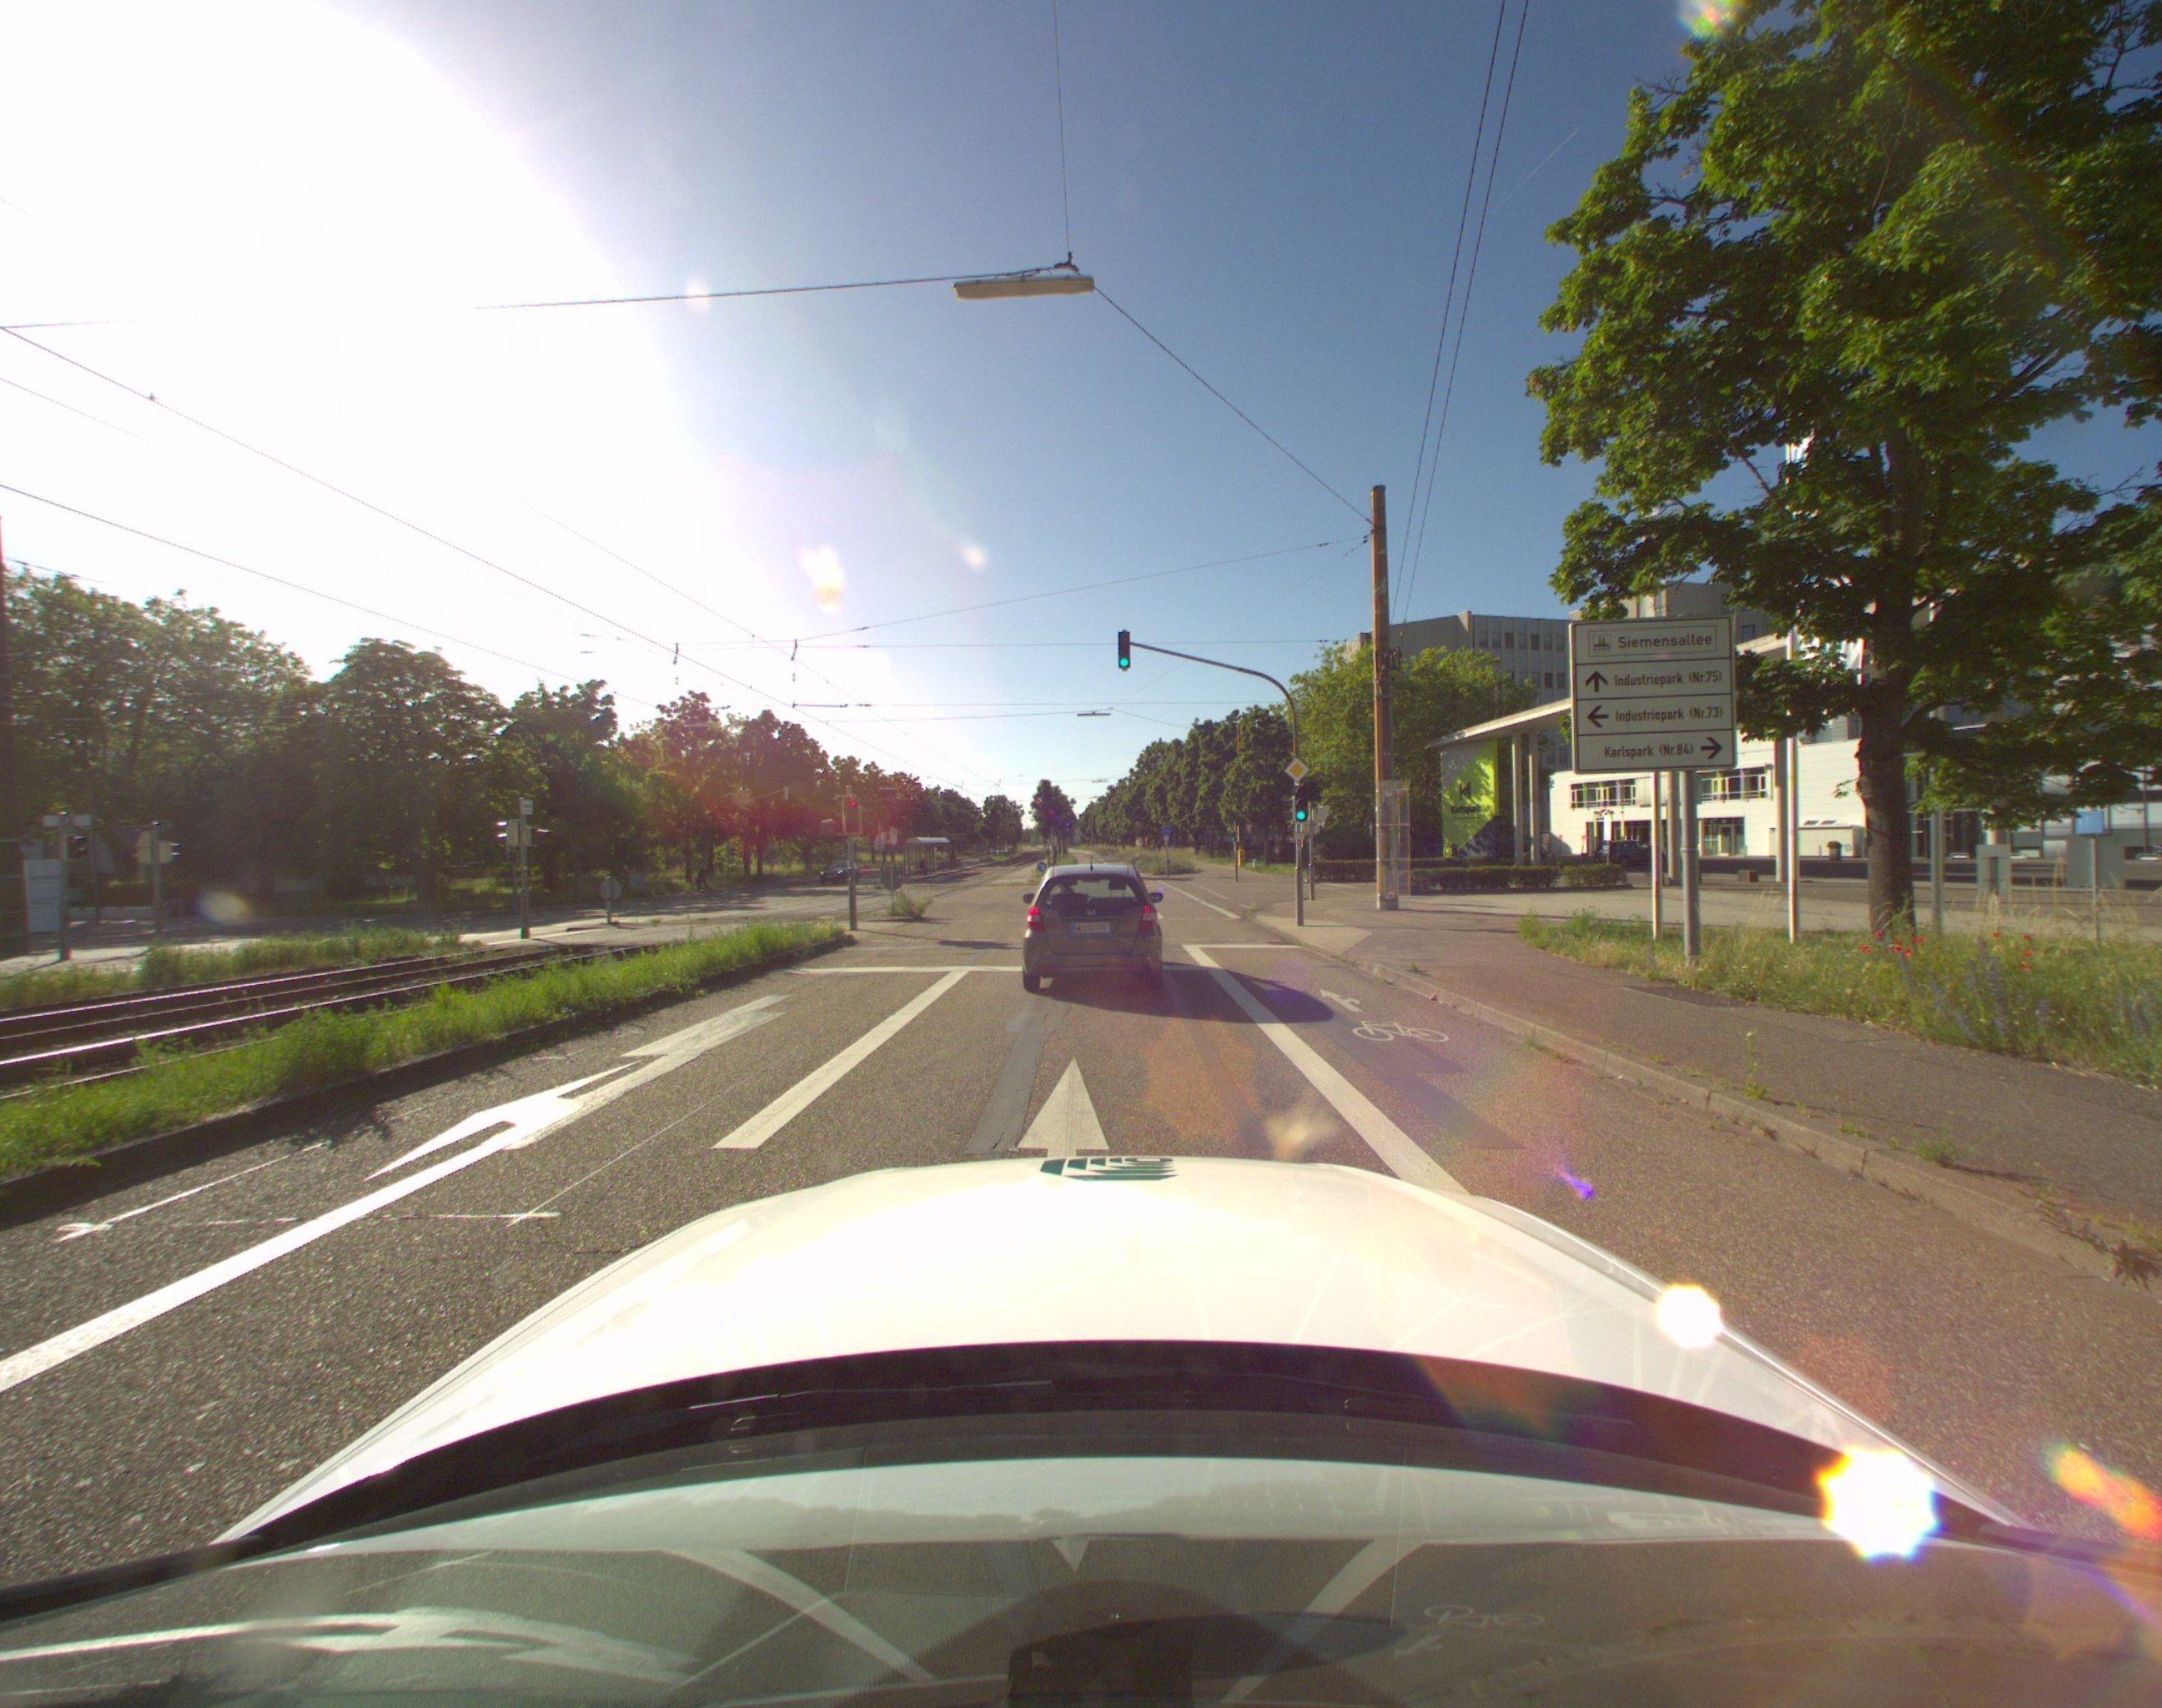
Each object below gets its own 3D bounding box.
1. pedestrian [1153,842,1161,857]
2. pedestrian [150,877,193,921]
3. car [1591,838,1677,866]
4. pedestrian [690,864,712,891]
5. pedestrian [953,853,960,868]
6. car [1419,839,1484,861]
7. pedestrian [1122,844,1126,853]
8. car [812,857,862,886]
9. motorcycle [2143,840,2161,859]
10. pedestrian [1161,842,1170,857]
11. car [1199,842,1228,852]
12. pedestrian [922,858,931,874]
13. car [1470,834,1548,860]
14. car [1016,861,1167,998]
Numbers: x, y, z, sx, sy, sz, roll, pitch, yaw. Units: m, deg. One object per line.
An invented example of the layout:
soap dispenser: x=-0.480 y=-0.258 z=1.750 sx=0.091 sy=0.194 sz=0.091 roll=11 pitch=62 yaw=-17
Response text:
pedestrian: x=9.784 y=-0.566 z=105.115 sx=0.880 sy=1.884 sz=0.875 roll=-2 pitch=0 yaw=-2
pedestrian: x=-38.519 y=1.884 z=34.489 sx=0.943 sy=1.787 sz=0.824 roll=-2 pitch=0 yaw=15
car: x=33.319 y=-0.129 z=49.139 sx=3.984 sy=1.578 sz=1.949 roll=-1 pitch=0 yaw=-8
pedestrian: x=-24.693 y=1.515 z=52.933 sx=0.751 sy=1.734 sz=0.943 roll=-2 pitch=0 yaw=30
pedestrian: x=-12.253 y=0.673 z=80.088 sx=0.542 sy=1.447 sz=0.559 roll=-2 pitch=0 yaw=1
car: x=30.051 y=-0.334 z=66.164 sx=4.448 sy=1.686 sz=1.892 roll=-2 pitch=0 yaw=-4
pedestrian: x=7.683 y=-0.954 z=146.117 sx=0.723 sy=1.690 sz=0.821 roll=-1 pitch=-1 yaw=-1
car: x=-17.968 y=1.265 z=60.204 sx=2.087 sy=1.810 sz=4.792 roll=-4 pitch=1 yaw=0
motorcycle: x=54.656 y=-0.226 z=40.745 sx=0.652 sy=0.947 sz=1.727 roll=-1 pitch=0 yaw=-13
pedestrian: x=10.901 y=-0.580 z=105.118 sx=0.880 sy=1.884 sz=0.875 roll=-2 pitch=0 yaw=-2
car: x=23.377 y=-1.270 z=143.753 sx=4.623 sy=1.555 sz=1.997 roll=-2 pitch=0 yaw=-5
pedestrian: x=-12.438 y=0.971 z=65.517 sx=0.562 sy=1.257 sz=0.581 roll=-4 pitch=0 yaw=1
car: x=31.110 y=-0.520 z=59.273 sx=4.888 sy=1.757 sz=2.082 roll=-2 pitch=0 yaw=-14
car: x=0.178 y=0.872 z=11.064 sx=1.694 sy=1.524 sz=3.711 roll=-1 pitch=-1 yaw=2
